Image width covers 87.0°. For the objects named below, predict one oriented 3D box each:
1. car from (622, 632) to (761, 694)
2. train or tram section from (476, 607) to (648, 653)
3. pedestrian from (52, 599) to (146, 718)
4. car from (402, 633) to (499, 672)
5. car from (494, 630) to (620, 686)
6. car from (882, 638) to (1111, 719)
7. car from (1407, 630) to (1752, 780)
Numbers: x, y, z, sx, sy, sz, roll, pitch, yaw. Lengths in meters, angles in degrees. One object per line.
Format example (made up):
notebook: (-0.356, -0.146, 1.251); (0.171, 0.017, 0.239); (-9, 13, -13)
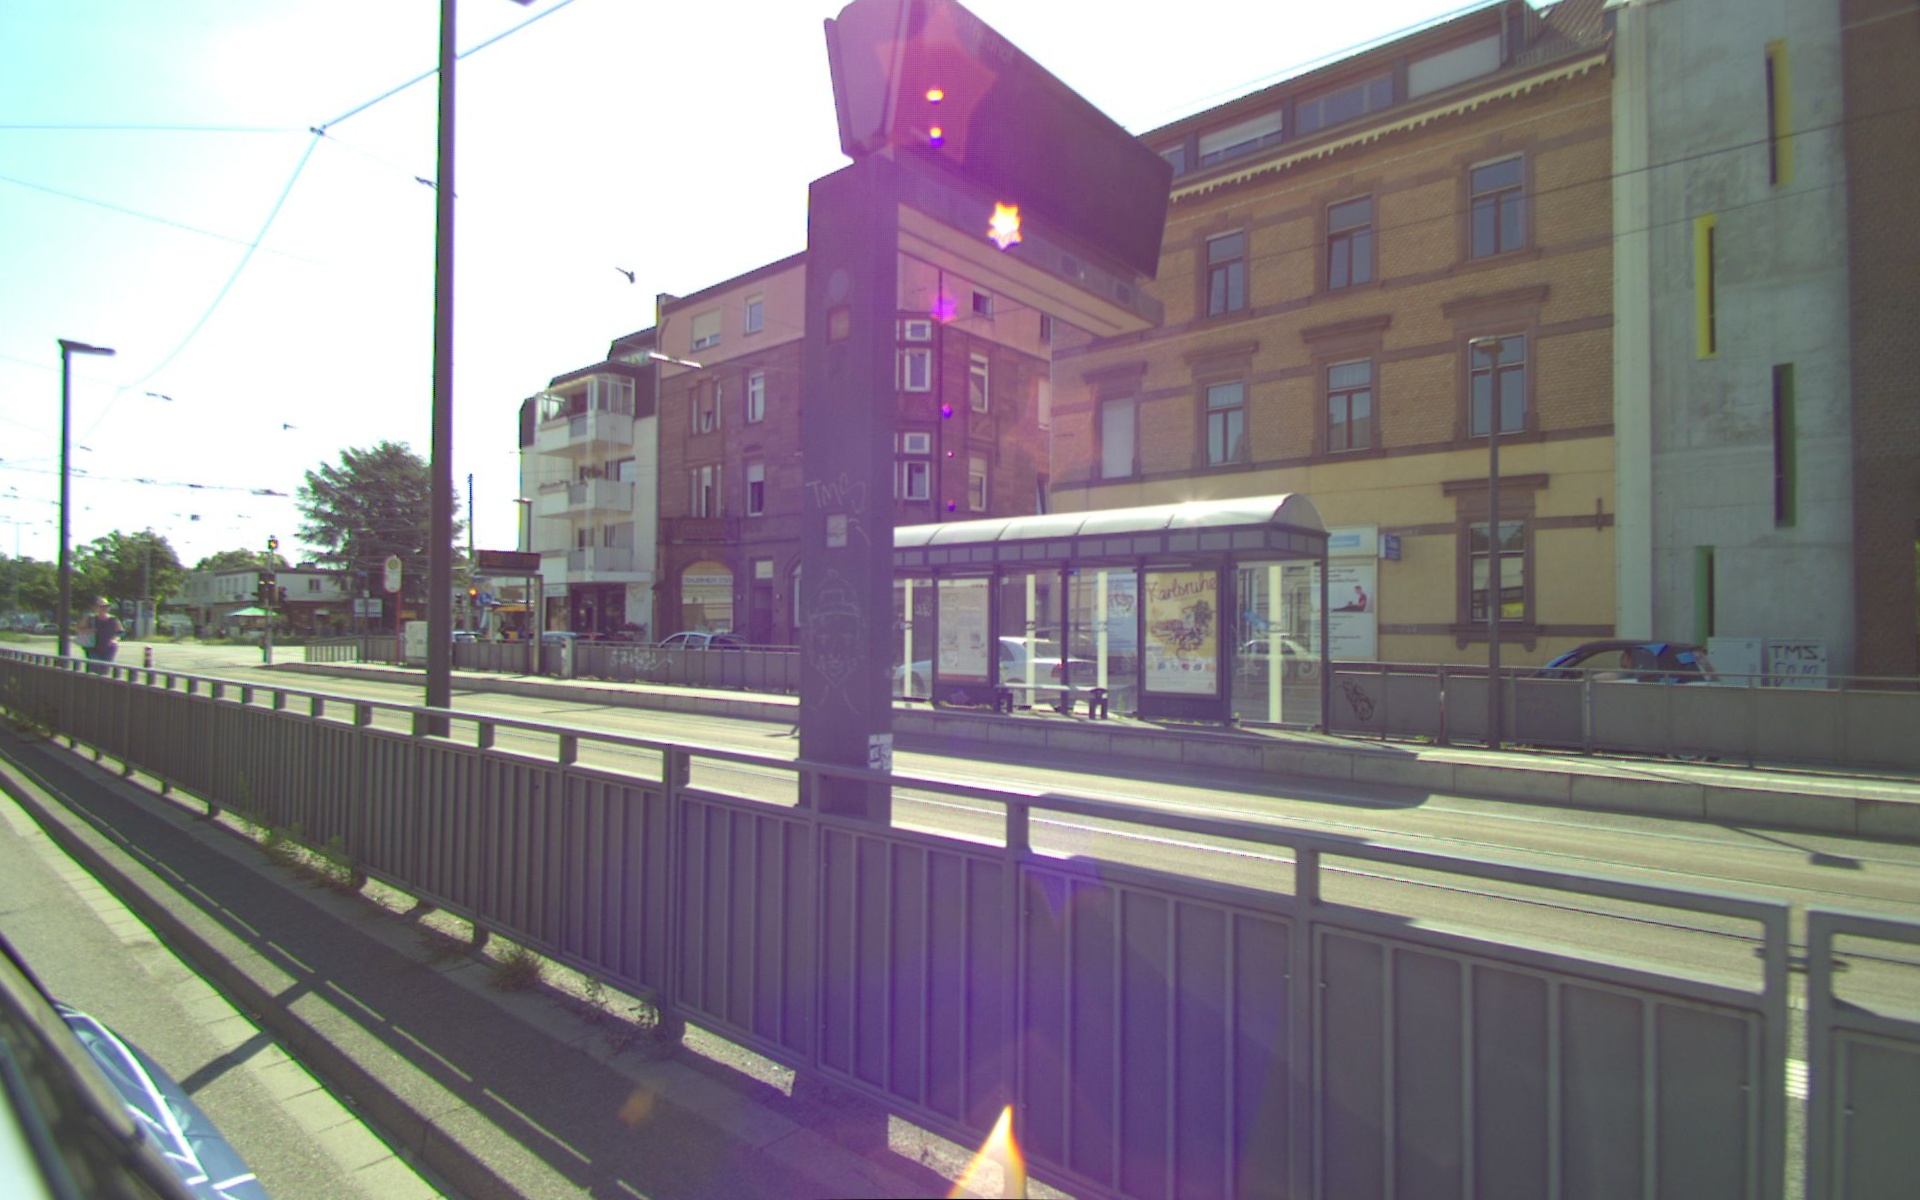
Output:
car: (-7.001, 1.596, 26.221); (3.863, 1.480, 1.608); (-2, -3, 41)
train or tram section: (-32.120, 2.451, 82.458); (2.689, 3.507, 13.148); (-1, -2, 43)
pedestrian: (-14.229, 0.939, 16.722); (1.237, 1.873, 0.970); (-1, -3, 41)
car: (-18.367, 1.853, 36.398); (4.076, 1.253, 1.694); (-1, 0, 41)
car: (-12.385, 1.733, 30.972); (4.470, 1.527, 1.694); (-2, -1, 41)
car: (0.635, 1.472, 20.060); (4.518, 1.373, 1.615); (-1, -3, 41)
car: (7.945, 1.222, 13.131); (3.577, 1.635, 1.694); (-1, -1, 41)
